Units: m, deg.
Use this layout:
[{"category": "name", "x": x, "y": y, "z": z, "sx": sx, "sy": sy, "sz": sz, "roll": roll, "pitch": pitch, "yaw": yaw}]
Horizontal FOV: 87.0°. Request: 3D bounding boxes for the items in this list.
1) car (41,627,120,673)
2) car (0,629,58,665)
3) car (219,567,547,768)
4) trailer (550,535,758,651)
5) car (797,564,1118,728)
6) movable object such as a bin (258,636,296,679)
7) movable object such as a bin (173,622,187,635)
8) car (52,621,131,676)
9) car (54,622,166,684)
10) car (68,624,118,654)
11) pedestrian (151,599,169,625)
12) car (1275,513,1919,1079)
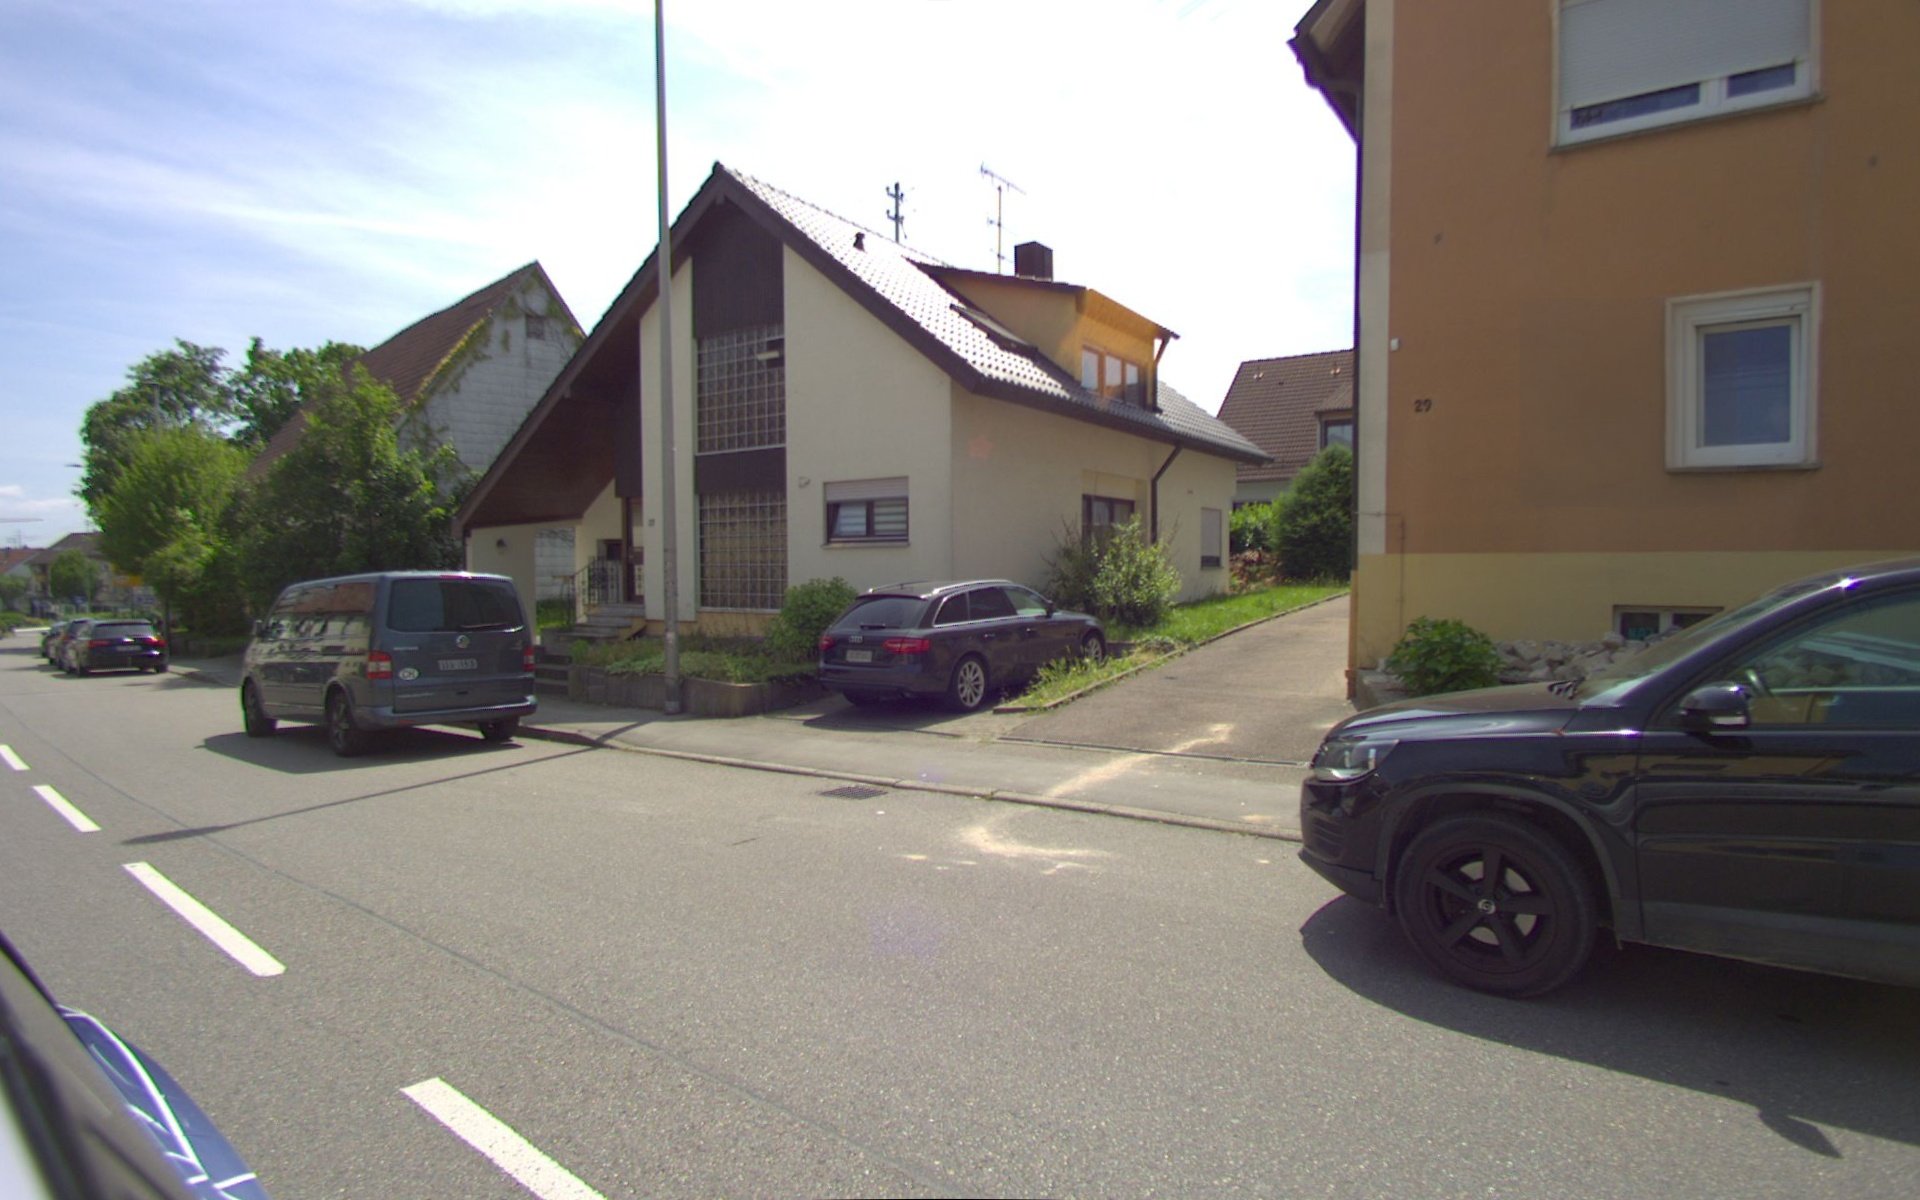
[{"category": "car", "x": -30.937, "y": 1.706, "z": 35.562, "sx": 1.768, "sy": 1.474, "sz": 4.714, "roll": -1, "pitch": -1, "yaw": -45}, {"category": "car", "x": -41.085, "y": 2.051, "z": 44.640, "sx": 1.782, "sy": 1.434, "sz": 4.935, "roll": 0, "pitch": -1, "yaw": -40}, {"category": "car", "x": -7.093, "y": 0.683, "z": 12.177, "sx": 4.983, "sy": 1.952, "sz": 1.871, "roll": -1, "pitch": -1, "yaw": 41}, {"category": "trailer", "x": -6.725, "y": -0.211, "z": 22.565, "sx": 1.998, "sy": 2.027, "sz": 3.796, "roll": -1, "pitch": 7, "yaw": 39}, {"category": "car", "x": 0.160, "y": 0.433, "z": 12.526, "sx": 1.817, "sy": 1.415, "sz": 4.194, "roll": -2, "pitch": 4, "yaw": 35}, {"category": "movable object such as a bin", "x": -15.972, "y": 1.334, "z": 23.667, "sx": 0.585, "sy": 0.908, "sz": 0.496, "roll": -1, "pitch": 6, "yaw": 39}, {"category": "movable object such as a bin", "x": -64.379, "y": 2.352, "z": 83.532, "sx": 0.790, "sy": 1.007, "sz": 0.807, "roll": -4, "pitch": 2, "yaw": -35}, {"category": "car", "x": -27.034, "y": 1.475, "z": 31.452, "sx": 1.734, "sy": 1.532, "sz": 4.305, "roll": -1, "pitch": -1, "yaw": -42}, {"category": "car", "x": -22.840, "y": 1.366, "z": 27.133, "sx": 4.777, "sy": 1.484, "sz": 1.799, "roll": -2, "pitch": -1, "yaw": 44}, {"category": "car", "x": -47.081, "y": 2.108, "z": 55.032, "sx": 1.749, "sy": 1.539, "sz": 4.231, "roll": 1, "pitch": -1, "yaw": -36}, {"category": "pedestrian", "x": -51.841, "y": 0.782, "z": 65.598, "sx": 0.627, "sy": 1.628, "sz": 0.724, "roll": -1, "pitch": 1, "yaw": 33}, {"category": "car", "x": 3.511, "y": 0.562, "z": 3.493, "sx": 4.281, "sy": 1.648, "sz": 1.752, "roll": -1, "pitch": -1, "yaw": 38}]
